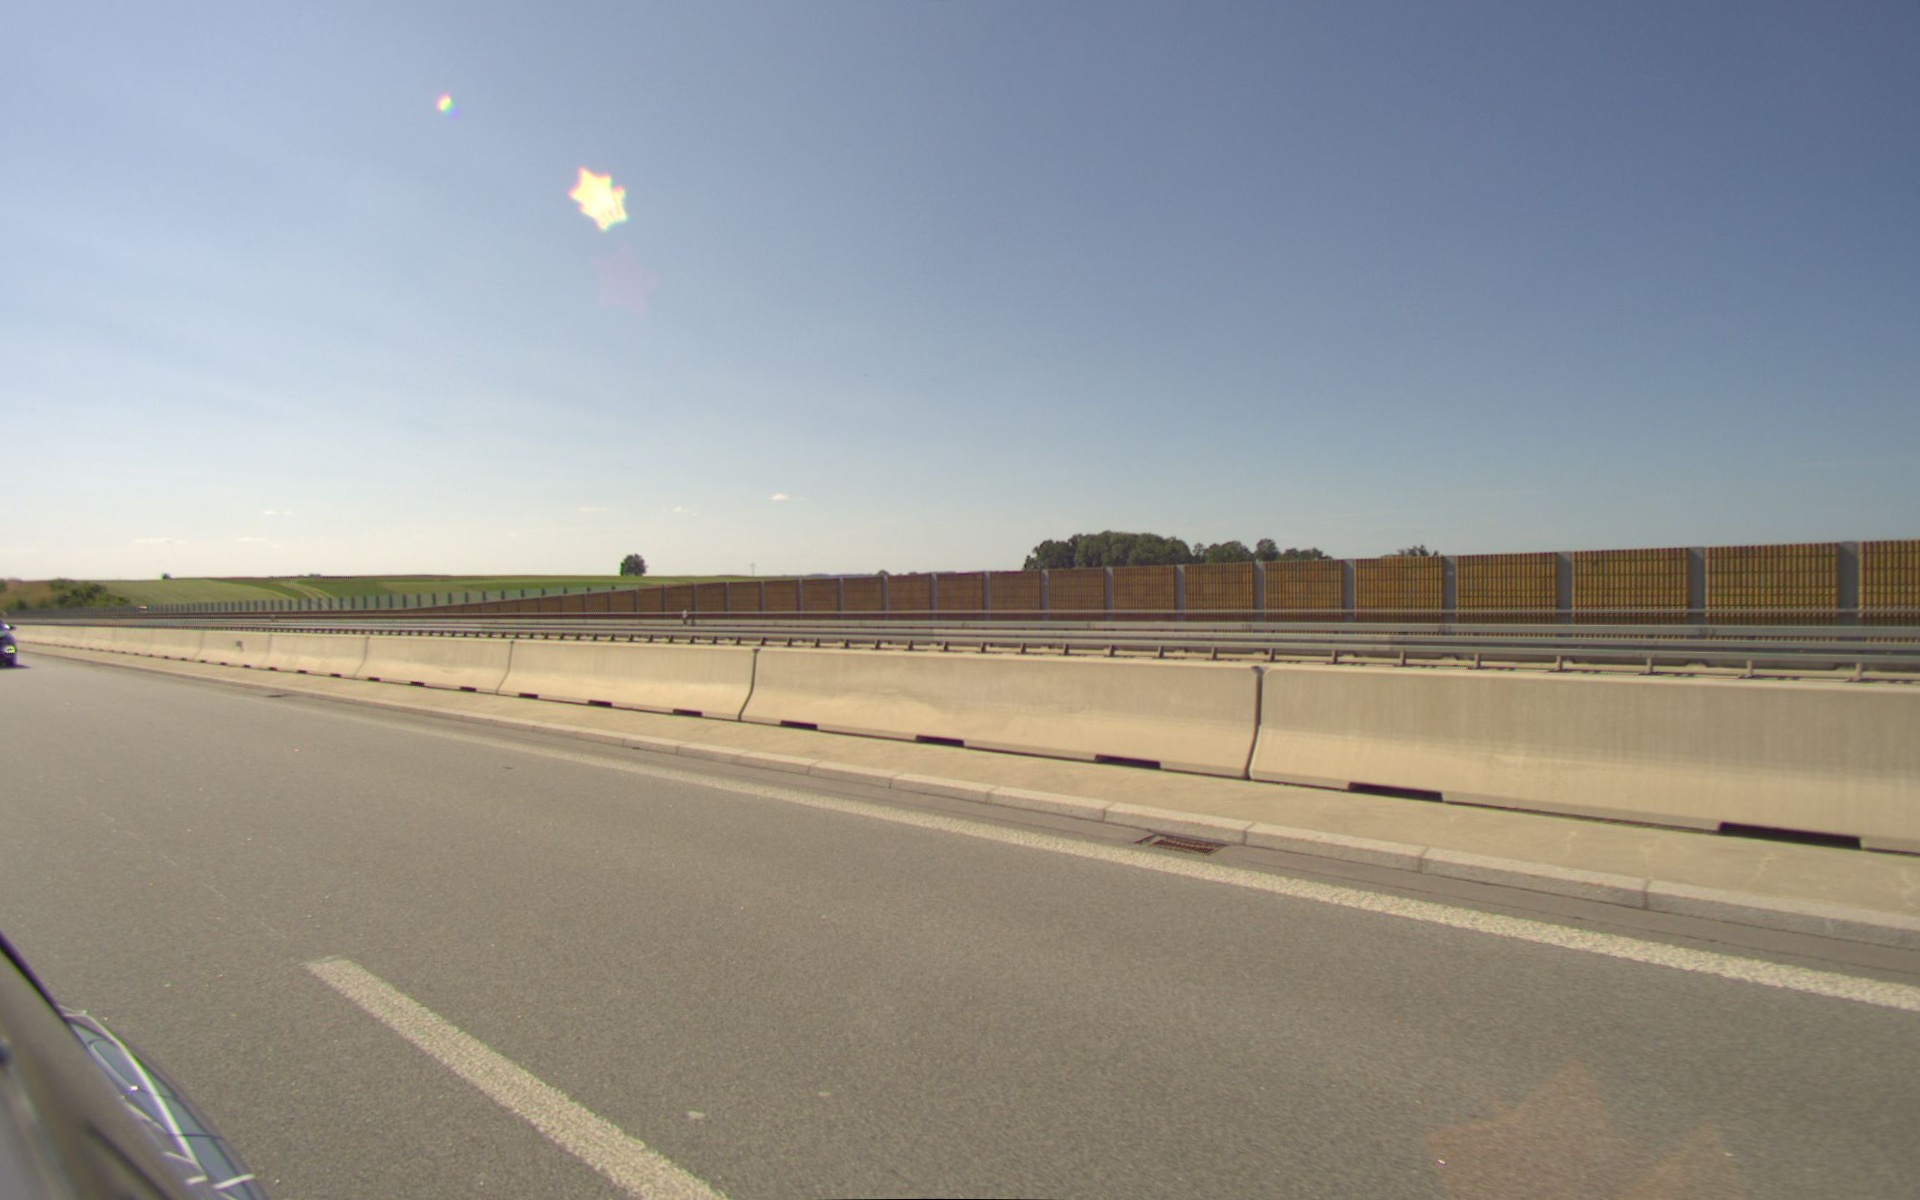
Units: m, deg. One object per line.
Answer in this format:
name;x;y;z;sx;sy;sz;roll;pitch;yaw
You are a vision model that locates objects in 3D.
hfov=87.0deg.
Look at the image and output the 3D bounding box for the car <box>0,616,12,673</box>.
car;-29.195;1.283;29.562;4.986;1.581;1.753;-1;0;41
